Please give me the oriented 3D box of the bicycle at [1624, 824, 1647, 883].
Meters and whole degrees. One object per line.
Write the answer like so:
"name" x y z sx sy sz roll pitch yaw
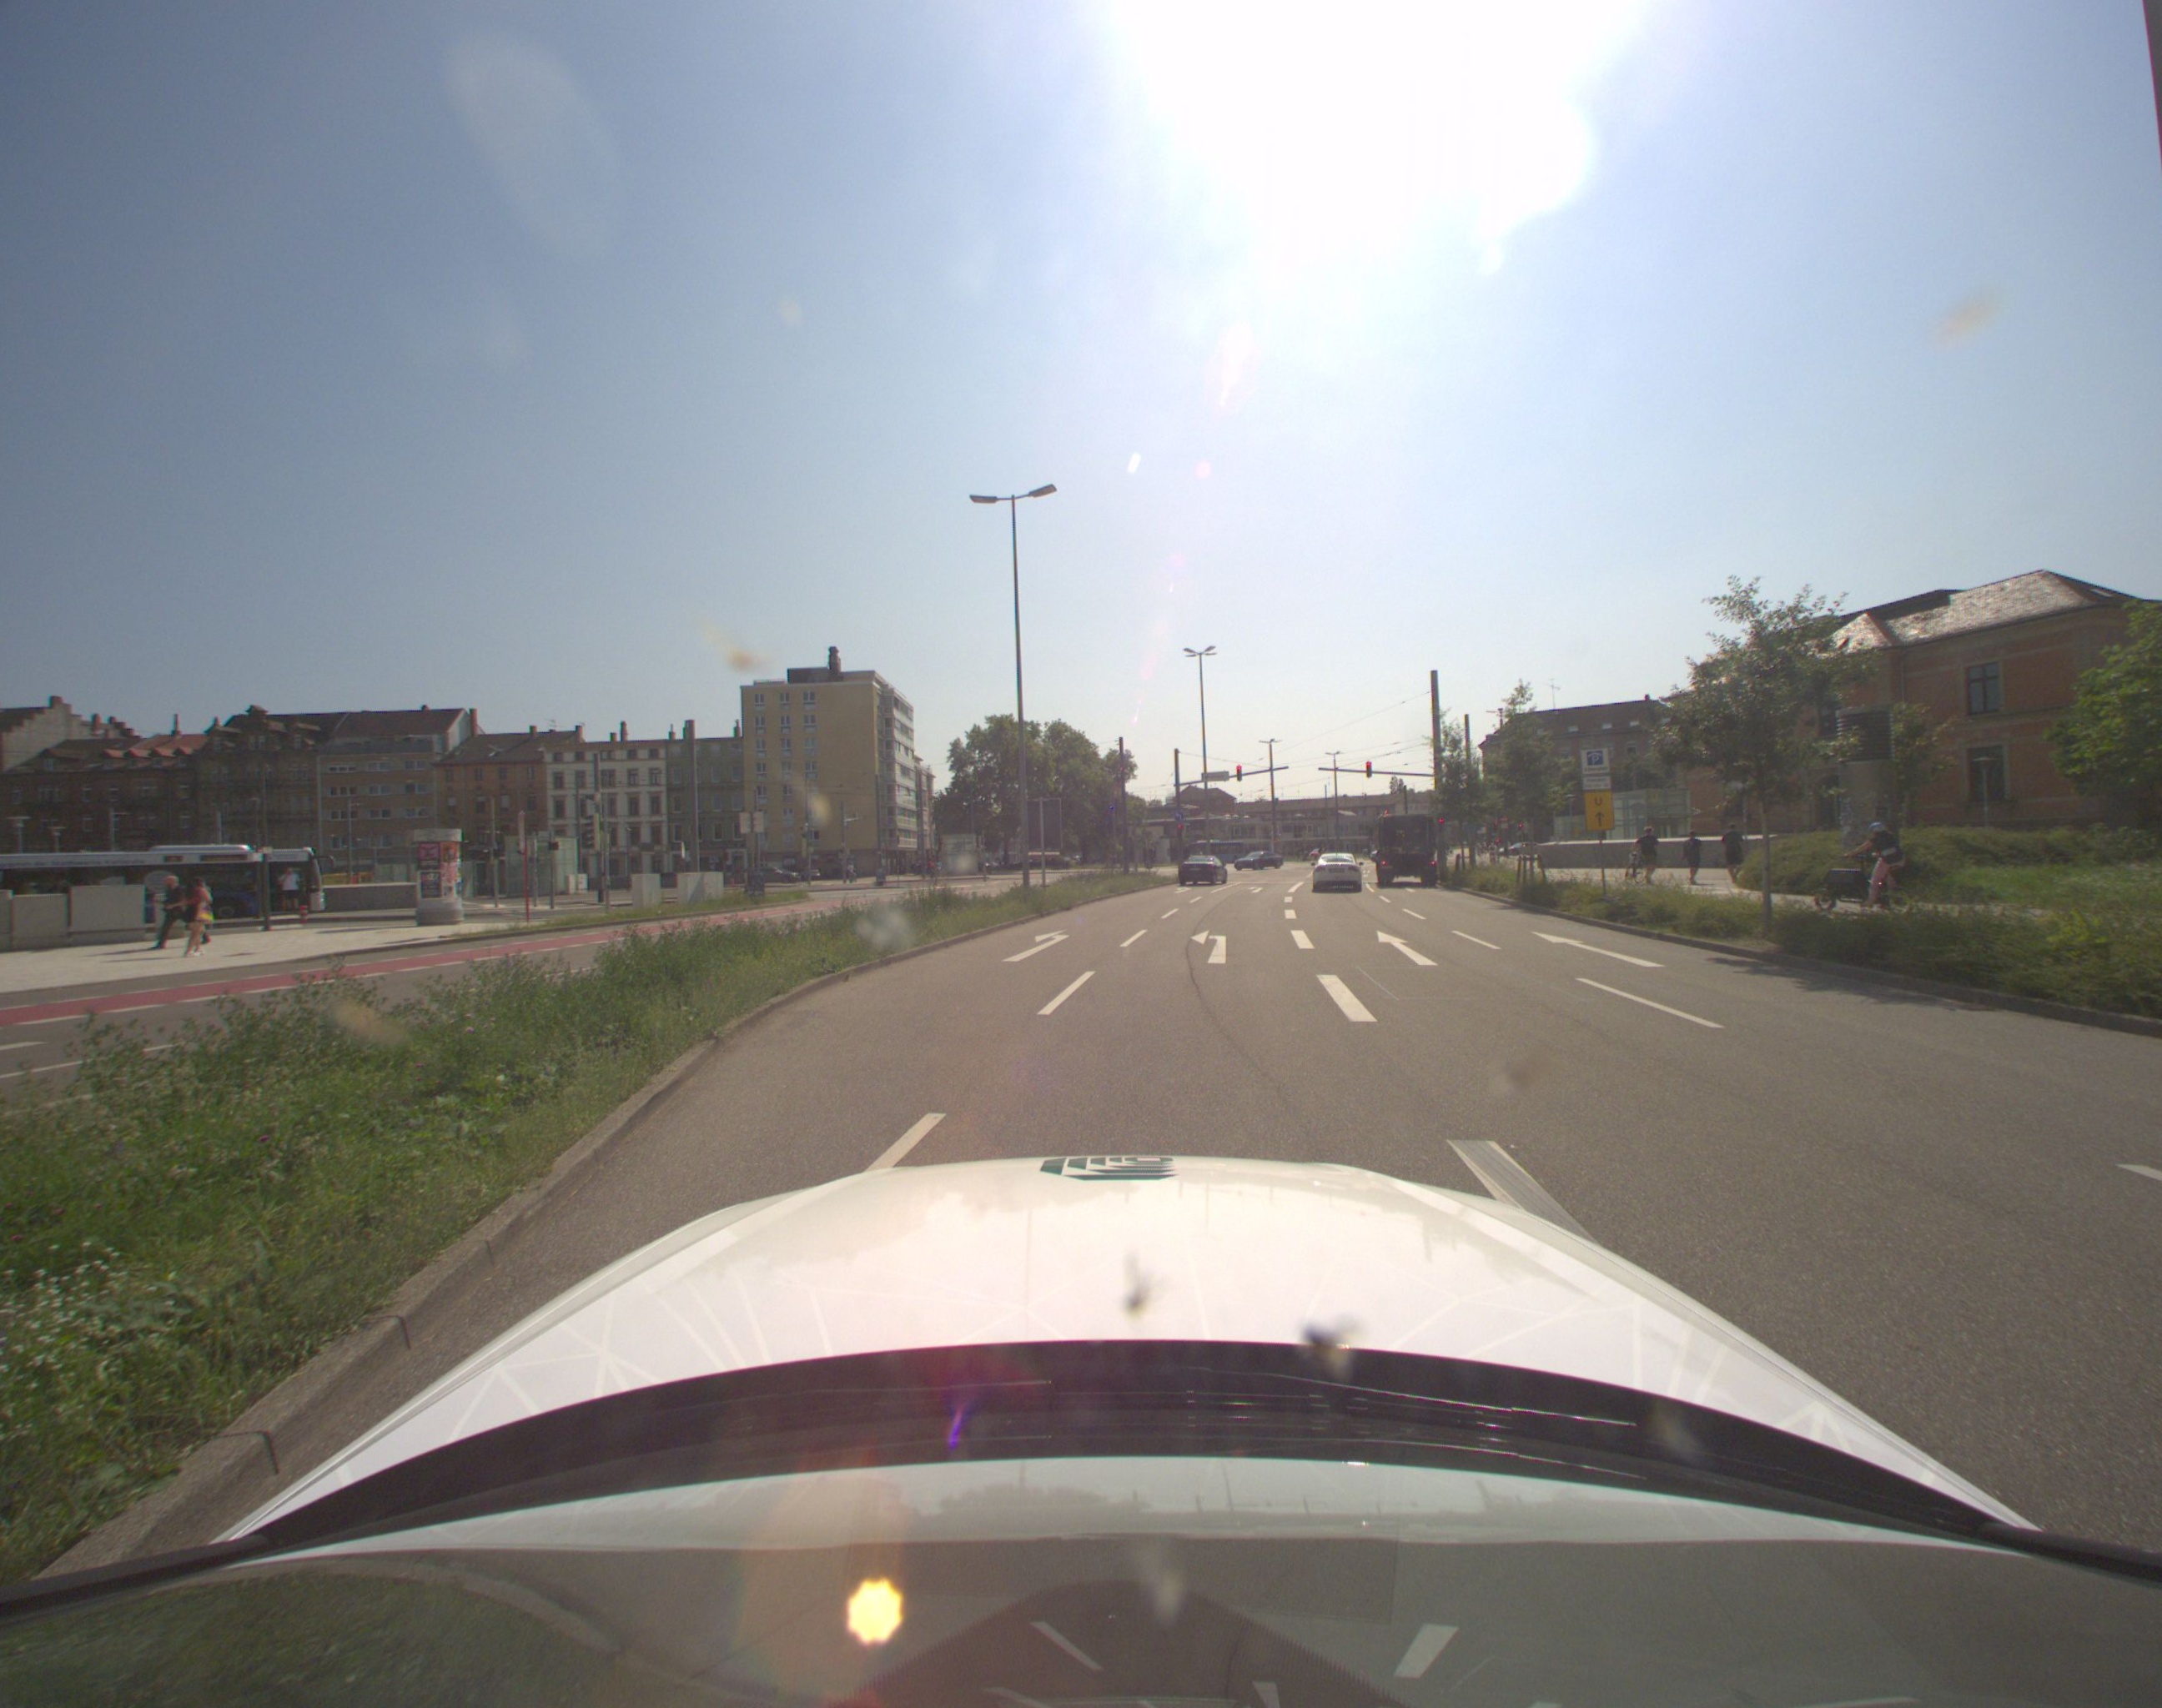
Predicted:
"bicycle" 18.069 -0.014 26.555 0.451 1.860 1.371 -2 0 29

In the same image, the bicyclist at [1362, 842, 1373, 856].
"bicyclist" 32.130 -0.551 91.285 0.901 1.501 0.864 -2 0 -2

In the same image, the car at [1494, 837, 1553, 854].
"car" 42.394 -0.804 78.073 4.551 1.400 1.948 -2 0 4

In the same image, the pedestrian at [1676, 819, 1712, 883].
"pedestrian" 19.218 -0.091 25.535 0.770 1.973 0.758 -2 0 31

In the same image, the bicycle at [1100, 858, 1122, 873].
"bicycle" 2.363 0.896 64.806 0.974 1.178 2.817 -2 0 -16

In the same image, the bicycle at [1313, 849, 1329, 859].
"bicycle" 26.328 0.011 89.490 1.575 0.985 0.510 -2 0 33

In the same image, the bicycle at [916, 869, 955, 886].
"bicycle" -9.430 1.530 52.844 2.402 0.953 0.603 -2 -1 -1

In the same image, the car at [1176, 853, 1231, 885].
"car" 5.940 0.689 39.156 1.743 1.404 4.002 -1 0 21

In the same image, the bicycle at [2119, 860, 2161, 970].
"bicycle" 11.828 0.649 7.872 0.690 1.155 2.376 -4 0 7

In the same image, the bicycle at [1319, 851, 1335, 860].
"bicycle" 27.435 0.202 90.851 1.586 0.985 0.507 -2 0 -1

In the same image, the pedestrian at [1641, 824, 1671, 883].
"pedestrian" 18.588 -0.021 26.334 0.653 1.860 0.798 -2 0 29

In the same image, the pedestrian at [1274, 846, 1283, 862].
"pedestrian" 22.695 0.011 93.650 0.776 1.752 0.814 -2 0 32

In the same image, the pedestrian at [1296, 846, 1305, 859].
"pedestrian" 25.259 -0.178 93.846 0.638 1.561 0.741 -2 0 -26

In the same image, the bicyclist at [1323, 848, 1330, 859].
"bicyclist" 27.382 -0.078 90.854 0.592 1.247 0.507 -2 0 0

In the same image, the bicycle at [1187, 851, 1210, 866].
"bicycle" 9.835 0.392 68.299 2.054 1.137 0.690 -2 -1 -40

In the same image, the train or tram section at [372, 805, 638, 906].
"train or tram section" -23.301 -0.055 33.379 3.105 3.569 8.296 -4 0 43

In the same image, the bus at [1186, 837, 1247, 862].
"bus" 17.468 -0.594 104.035 3.024 2.931 11.929 -2 0 33

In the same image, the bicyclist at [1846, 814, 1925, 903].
"bicyclist" 14.140 0.079 14.331 0.546 1.496 0.804 -3 -1 3

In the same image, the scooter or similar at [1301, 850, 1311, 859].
"scooter or similar" 26.002 0.057 94.189 0.840 0.974 0.786 -2 0 -26

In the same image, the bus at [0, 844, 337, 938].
"bus" -36.261 1.295 30.217 3.067 3.070 12.558 -3 -1 44

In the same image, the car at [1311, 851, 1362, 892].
"car" 10.163 0.657 32.352 1.744 1.455 4.446 -1 0 18

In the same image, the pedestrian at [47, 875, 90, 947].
"pedestrian" -25.508 1.432 20.518 0.688 1.763 0.554 -2 -1 30

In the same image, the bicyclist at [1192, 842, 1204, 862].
"bicyclist" 9.843 -0.165 68.335 0.623 1.650 0.685 -2 -1 -39

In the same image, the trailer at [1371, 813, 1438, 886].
"trailer" 14.445 -0.216 36.713 2.443 3.007 6.355 0 0 18

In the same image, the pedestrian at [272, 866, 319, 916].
"pedestrian" -31.442 1.470 32.604 1.318 1.886 1.025 -2 -1 -45

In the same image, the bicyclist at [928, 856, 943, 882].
"bicyclist" -9.456 0.957 52.863 0.836 1.642 0.606 -1 -1 -1

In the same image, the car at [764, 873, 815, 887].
"car" -25.906 2.315 72.410 3.877 0.987 1.713 -2 0 -6

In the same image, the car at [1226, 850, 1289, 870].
"car" 14.137 0.481 65.294 4.568 1.438 1.985 -2 0 -22

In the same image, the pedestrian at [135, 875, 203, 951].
"pedestrian" -21.372 1.366 19.098 0.640 1.702 0.812 -2 -1 11

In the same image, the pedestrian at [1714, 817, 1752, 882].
"pedestrian" 20.260 -0.129 25.309 0.770 1.973 0.758 -2 0 31

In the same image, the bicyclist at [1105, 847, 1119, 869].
"bicyclist" 2.450 0.330 64.426 0.974 1.654 0.659 -2 0 -16

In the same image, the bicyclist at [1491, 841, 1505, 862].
"bicyclist" 26.828 -0.151 52.412 0.668 1.320 0.687 -2 0 22

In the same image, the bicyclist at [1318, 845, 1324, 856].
"bicyclist" 26.387 -0.348 89.453 0.498 1.188 0.510 -2 0 33

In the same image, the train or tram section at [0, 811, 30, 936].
"train or tram section" -34.574 0.822 21.302 3.105 3.569 8.296 -4 0 43

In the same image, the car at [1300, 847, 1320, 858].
"car" 32.980 -0.270 117.254 1.711 1.420 3.865 -2 0 31

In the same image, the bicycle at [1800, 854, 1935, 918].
"bicycle" 14.193 0.542 14.779 0.554 1.060 2.005 -2 0 3

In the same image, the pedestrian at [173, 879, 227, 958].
"pedestrian" -19.511 1.406 18.056 0.630 1.703 0.778 1 -2 -36

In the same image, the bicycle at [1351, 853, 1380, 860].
"bicycle" 31.896 0.271 91.264 2.927 0.727 0.864 -2 0 -2

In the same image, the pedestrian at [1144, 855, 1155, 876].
"pedestrian" 4.210 0.687 50.029 0.594 1.268 0.505 -2 2 -1

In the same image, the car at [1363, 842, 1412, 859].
"car" 28.689 -0.297 76.355 4.063 1.425 1.766 -2 0 -17

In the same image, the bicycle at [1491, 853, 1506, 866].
"bicycle" 26.895 0.327 52.515 0.668 0.777 2.139 -2 0 23
